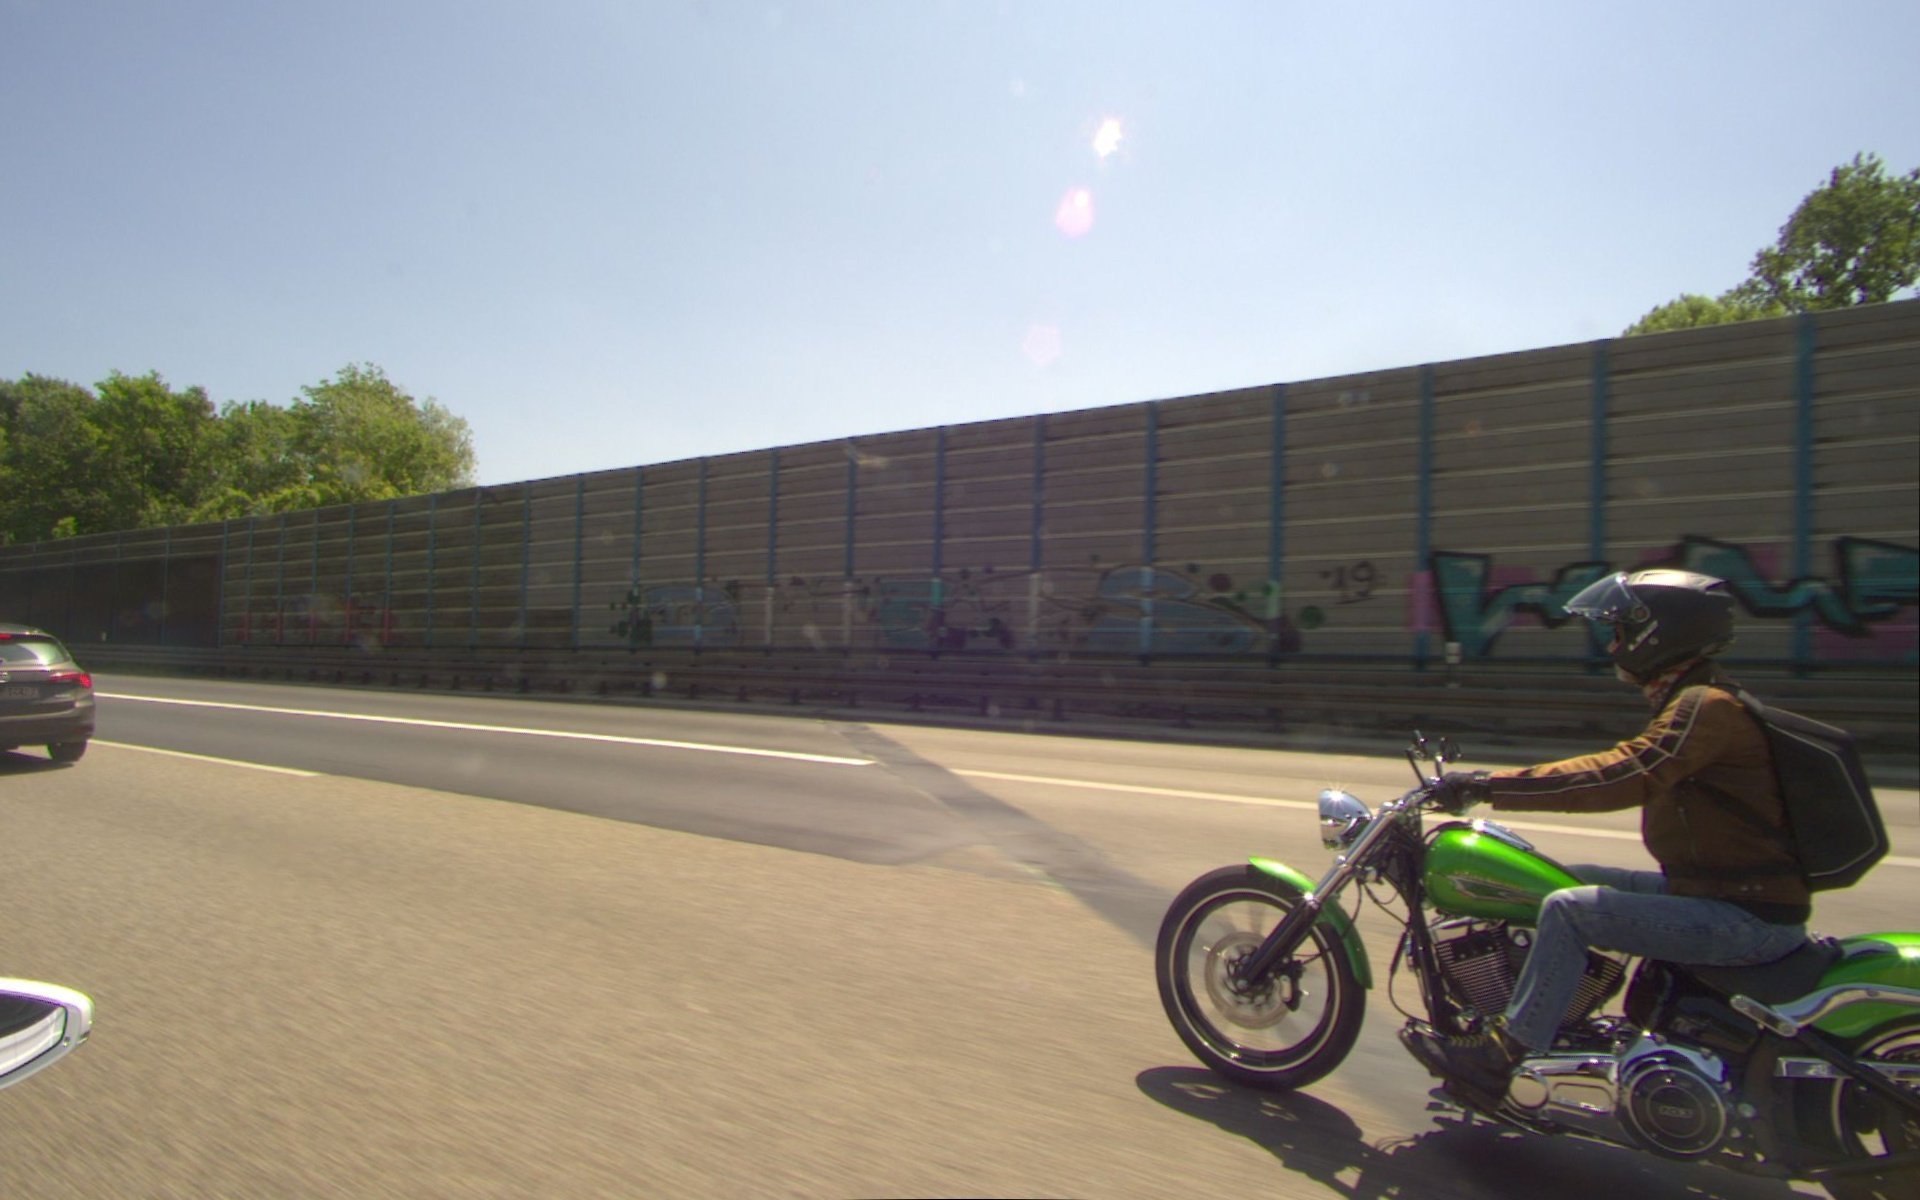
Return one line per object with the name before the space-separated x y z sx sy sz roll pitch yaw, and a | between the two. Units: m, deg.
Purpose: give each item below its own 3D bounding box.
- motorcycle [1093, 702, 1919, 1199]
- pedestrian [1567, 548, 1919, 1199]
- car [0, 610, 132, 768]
motorcycle | 1.580 0.967 2.852 2.245 1.197 0.857 -1 -1 35
pedestrian | 1.959 0.655 2.591 0.629 1.498 0.849 0 -1 34
car | -11.137 0.892 10.993 4.337 1.532 1.836 -1 -2 31
